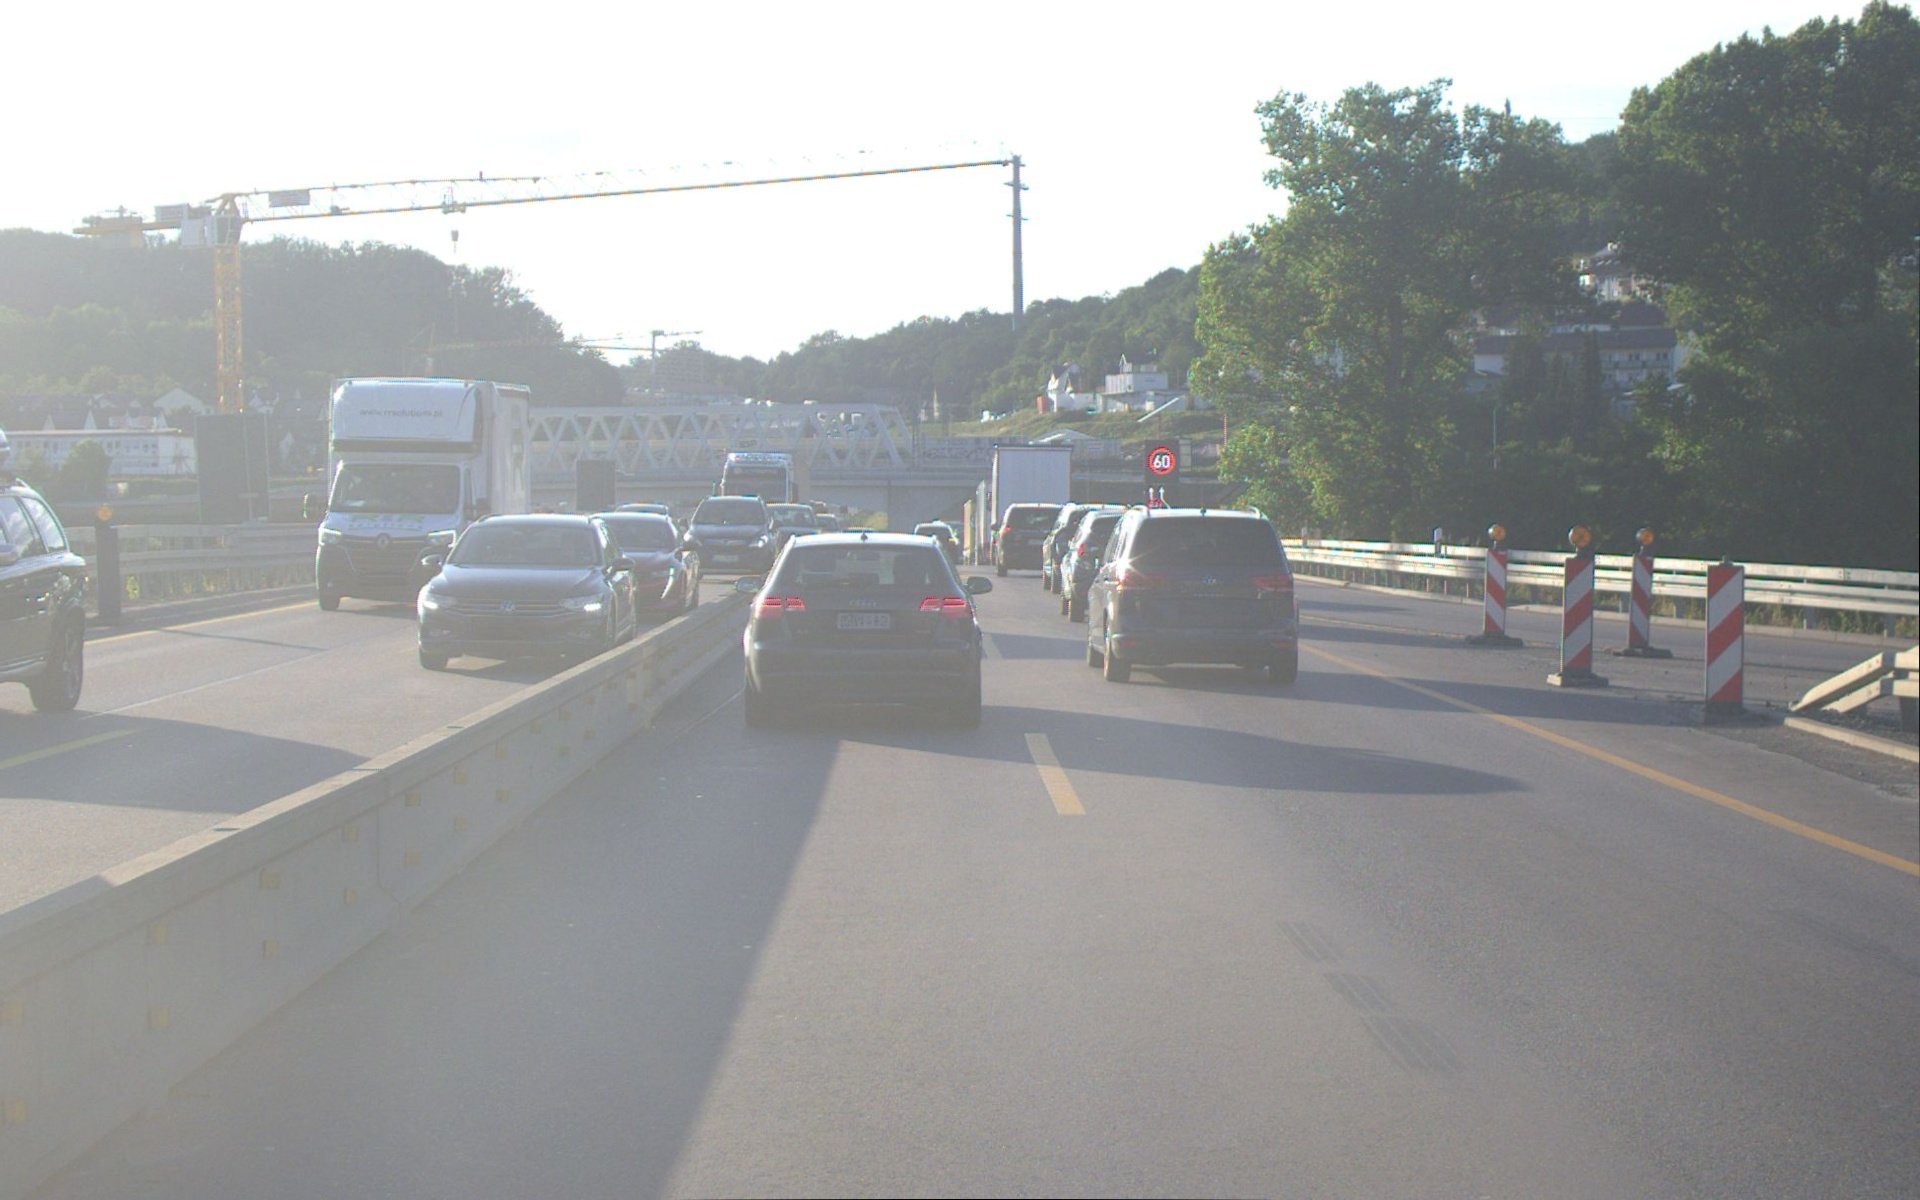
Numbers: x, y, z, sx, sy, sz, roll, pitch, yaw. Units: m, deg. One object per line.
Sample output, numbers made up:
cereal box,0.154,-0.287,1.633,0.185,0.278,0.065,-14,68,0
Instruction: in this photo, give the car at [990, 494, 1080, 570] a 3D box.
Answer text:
car,1.659,-1.502,77.250,1.814,1.627,4.411,1,1,-1

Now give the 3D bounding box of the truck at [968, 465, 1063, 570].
truck,2.432,-3.814,157.697,3.890,4.483,15.268,1,2,-1

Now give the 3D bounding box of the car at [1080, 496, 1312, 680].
car,2.201,-0.178,33.145,1.812,1.609,4.527,0,2,-1

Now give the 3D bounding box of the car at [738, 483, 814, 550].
car,-4.483,-2.033,84.272,1.742,1.578,4.706,1,1,-2

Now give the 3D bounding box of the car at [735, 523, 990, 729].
car,-0.760,0.138,26.223,1.770,1.385,4.001,1,2,-2

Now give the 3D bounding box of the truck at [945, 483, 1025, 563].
truck,1.370,-4.563,201.892,3.890,4.483,13.850,1,2,-3

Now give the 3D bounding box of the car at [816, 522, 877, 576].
car,-3.400,-1.529,102.967,1.766,1.529,4.000,1,1,-2

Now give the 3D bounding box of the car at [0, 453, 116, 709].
car,-7.581,-0.160,24.580,1.993,1.758,4.441,1,1,0

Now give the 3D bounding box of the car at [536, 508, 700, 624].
car,-4.548,-0.496,46.297,1.815,1.458,4.706,1,2,-1

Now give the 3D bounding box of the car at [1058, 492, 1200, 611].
car,2.349,-0.696,48.641,1.774,1.580,4.135,1,1,0

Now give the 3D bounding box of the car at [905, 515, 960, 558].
car,-0.970,-2.224,120.109,1.863,1.415,4.000,2,1,-1

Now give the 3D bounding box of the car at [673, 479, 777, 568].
car,-4.509,-1.485,66.419,1.827,1.634,4.531,0,1,-2

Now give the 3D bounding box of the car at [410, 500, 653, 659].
car,-4.196,-0.259,34.330,1.815,1.458,4.706,1,2,0

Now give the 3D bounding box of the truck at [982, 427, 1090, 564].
truck,2.583,-3.808,122.023,3.385,4.482,15.269,1,3,0

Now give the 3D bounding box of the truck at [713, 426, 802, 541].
truck,-7.263,-4.167,123.820,2.814,4.034,5.672,0,1,1

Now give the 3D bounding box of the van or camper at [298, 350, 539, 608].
van or camper,-7.861,-1.753,50.690,2.457,3.486,7.414,1,2,-1

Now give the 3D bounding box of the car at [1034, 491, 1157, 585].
car,2.378,-1.087,61.570,1.875,1.594,4.966,0,0,-1
